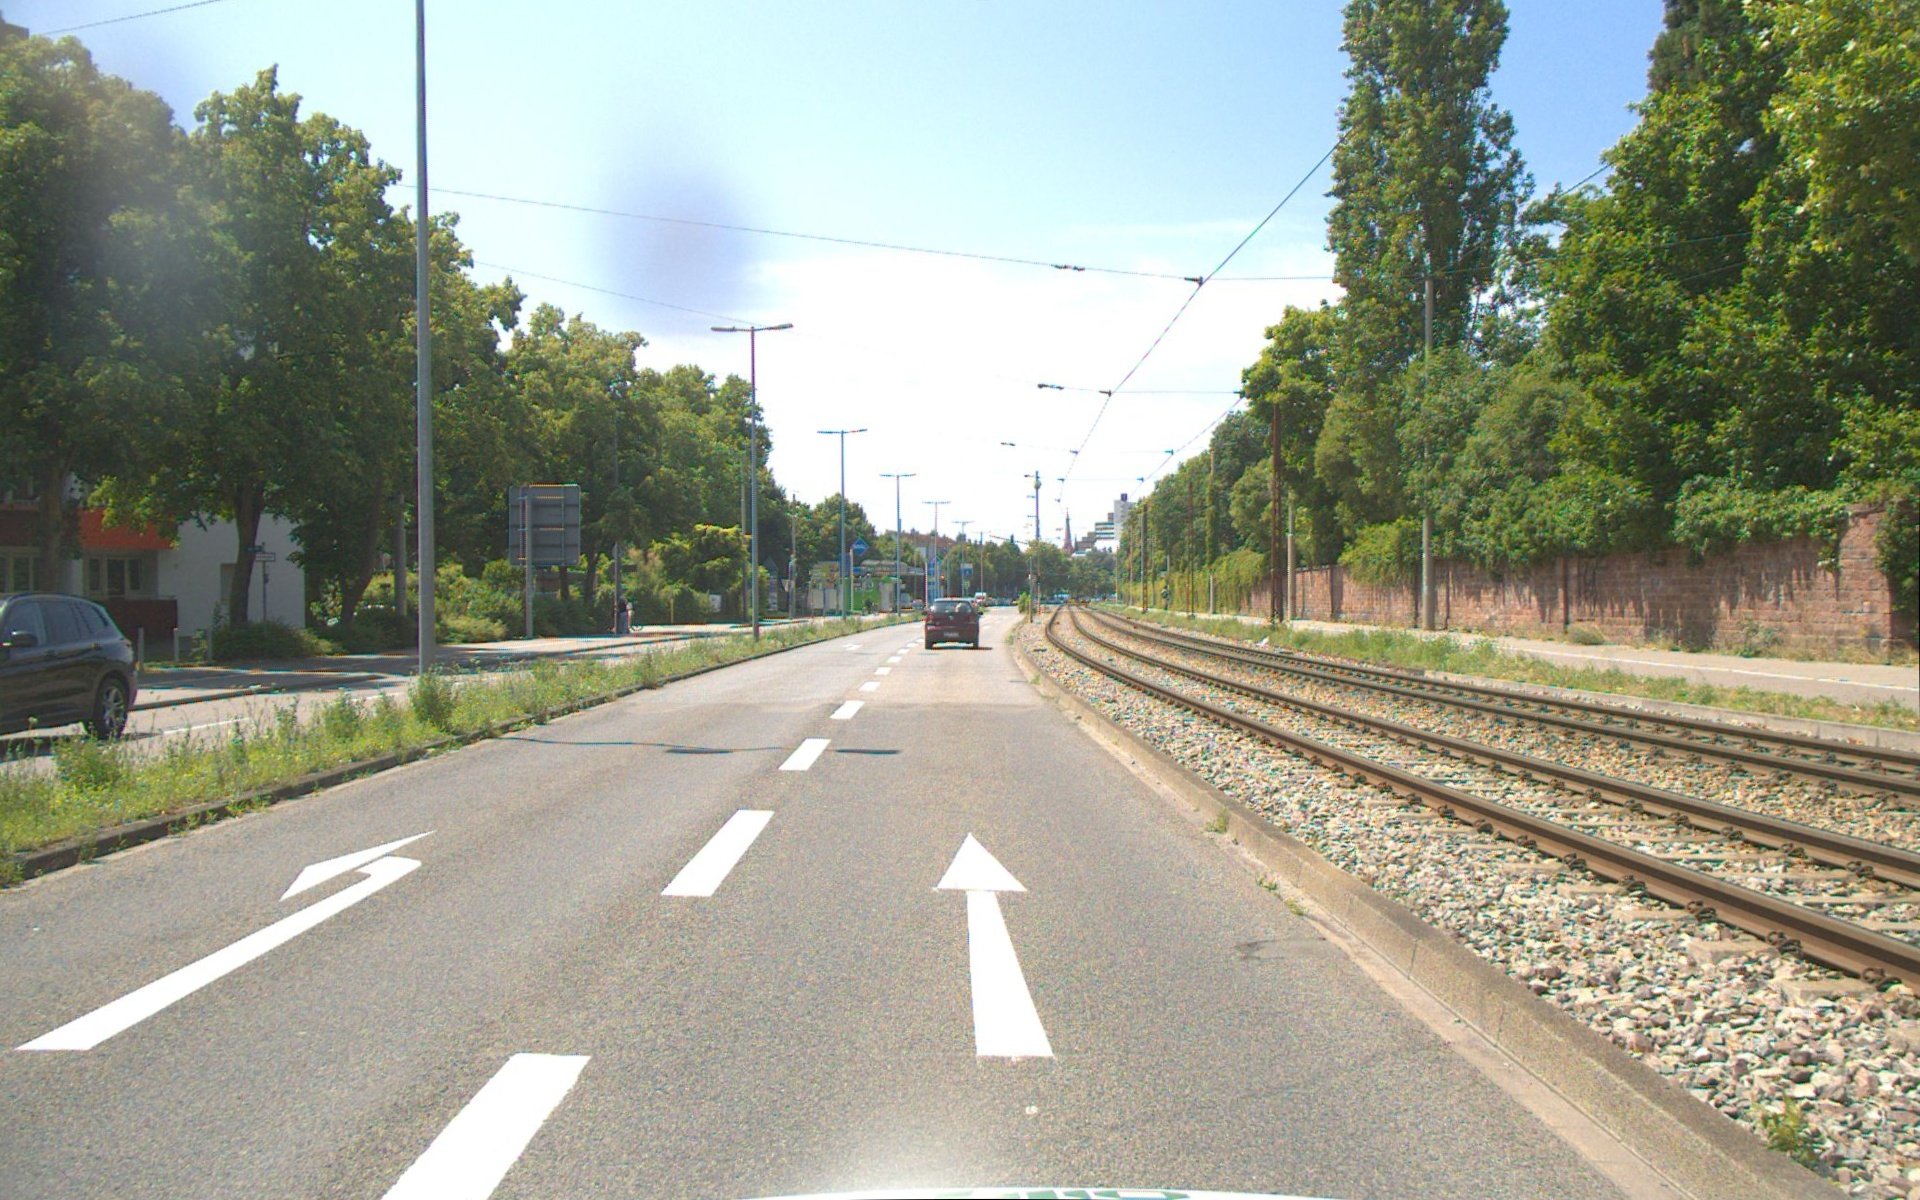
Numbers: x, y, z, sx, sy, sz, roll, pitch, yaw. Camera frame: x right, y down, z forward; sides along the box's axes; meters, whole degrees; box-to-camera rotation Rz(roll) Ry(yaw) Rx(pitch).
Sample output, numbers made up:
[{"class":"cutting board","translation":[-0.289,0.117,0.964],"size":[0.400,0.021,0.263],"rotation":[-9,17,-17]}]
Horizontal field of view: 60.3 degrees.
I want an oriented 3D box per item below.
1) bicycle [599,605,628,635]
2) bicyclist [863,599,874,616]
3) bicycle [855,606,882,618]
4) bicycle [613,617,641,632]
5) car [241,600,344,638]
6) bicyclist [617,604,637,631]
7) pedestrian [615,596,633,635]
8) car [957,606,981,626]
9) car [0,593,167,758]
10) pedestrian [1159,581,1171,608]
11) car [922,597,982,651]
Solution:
[{"class":"bicycle","translation":[-15.879,0.904,75.782],"size":[0.632,1.351,1.574],"rotation":[-1,0,15]},{"class":"bicyclist","translation":[-9.026,0.758,162.319],"size":[0.927,1.621,1.085],"rotation":[1,-1,-11]},{"class":"bicycle","translation":[-8.979,1.181,162.294],"size":[2.505,1.056,1.084],"rotation":[1,-1,-12]},{"class":"bicycle","translation":[-18.143,1.349,90.232],"size":[1.418,0.787,0.491],"rotation":[-2,0,-39]},{"class":"car","translation":[-34.785,0.984,86.314],"size":[4.577,1.789,1.997],"rotation":[-2,0,-7]},{"class":"bicyclist","translation":[-18.162,0.954,90.221],"size":[0.954,1.427,0.484],"rotation":[-2,0,-38]},{"class":"pedestrian","translation":[-15.351,0.710,75.519],"size":[0.537,1.748,0.604],"rotation":[-1,0,16]},{"class":"car","translation":[0.695,1.221,126.637],"size":[1.668,1.506,3.715],"rotation":[1,0,-2]},{"class":"car","translation":[-10.579,0.797,17.697],"size":[1.884,1.654,4.755],"rotation":[-2,0,-1]},{"class":"pedestrian","translation":[13.252,-0.350,107.026],"size":[0.648,1.756,0.817],"rotation":[-1,0,2]},{"class":"car","translation":[-0.226,0.732,49.134],"size":[1.668,1.503,3.716],"rotation":[1,-1,0]}]
